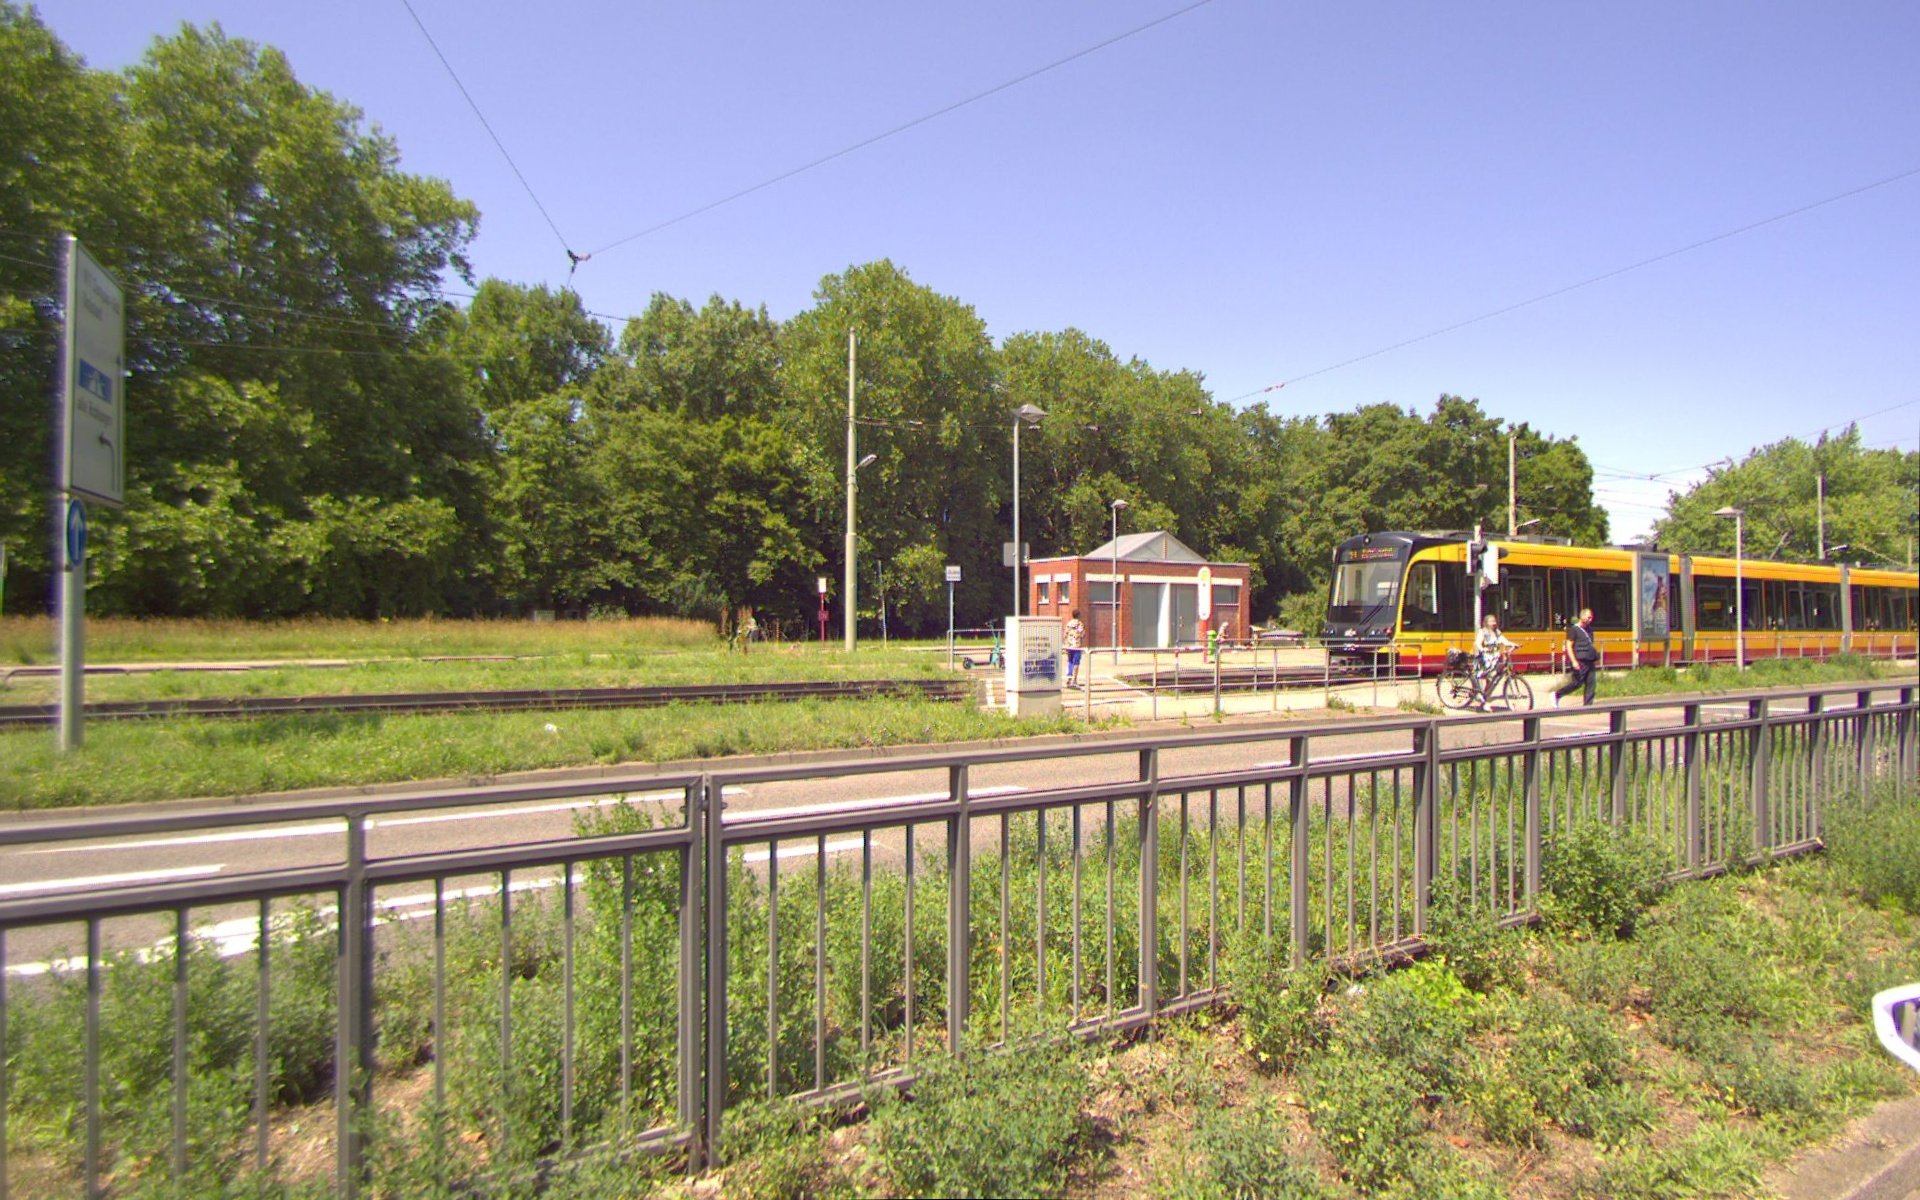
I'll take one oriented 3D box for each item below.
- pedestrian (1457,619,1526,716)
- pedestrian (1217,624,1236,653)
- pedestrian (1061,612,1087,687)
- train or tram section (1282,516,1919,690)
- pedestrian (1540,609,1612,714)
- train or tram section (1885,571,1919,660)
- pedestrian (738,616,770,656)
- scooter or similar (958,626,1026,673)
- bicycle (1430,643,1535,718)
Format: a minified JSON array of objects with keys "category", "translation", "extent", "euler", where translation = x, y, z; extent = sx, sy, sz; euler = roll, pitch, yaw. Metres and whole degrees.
[{"category":"pedestrian","translation":[9.331,1.158,17.634],"extent":[0.695,1.650,0.817],"euler":[1,0,-25]},{"category":"pedestrian","translation":[9.945,1.431,37.470],"extent":[0.516,1.032,0.479],"euler":[1,-1,-28]},{"category":"pedestrian","translation":[2.433,1.049,21.477],"extent":[0.527,1.561,0.869],"euler":[0,-1,5]},{"category":"train or tram section","translation":[24.262,0.349,32.191],"extent":[37.081,3.717,2.774],"euler":[1,-1,-31]},{"category":"pedestrian","translation":[11.096,1.086,18.110],"extent":[0.691,1.820,0.961],"euler":[1,0,-1]},{"category":"train or tram section","translation":[51.224,0.824,48.272],"extent":[25.696,3.717,2.774],"euler":[1,-1,-31]},{"category":"pedestrian","translation":[-9.033,1.564,44.116],"extent":[1.245,1.724,0.517],"euler":[0,0,15]},{"category":"scooter or similar","translation":[0.816,1.251,25.563],"extent":[1.640,1.142,0.613],"euler":[0,0,14]},{"category":"bicycle","translation":[9.042,1.366,17.462],"extent":[0.239,1.172,1.858],"euler":[1,-1,-24]}]
